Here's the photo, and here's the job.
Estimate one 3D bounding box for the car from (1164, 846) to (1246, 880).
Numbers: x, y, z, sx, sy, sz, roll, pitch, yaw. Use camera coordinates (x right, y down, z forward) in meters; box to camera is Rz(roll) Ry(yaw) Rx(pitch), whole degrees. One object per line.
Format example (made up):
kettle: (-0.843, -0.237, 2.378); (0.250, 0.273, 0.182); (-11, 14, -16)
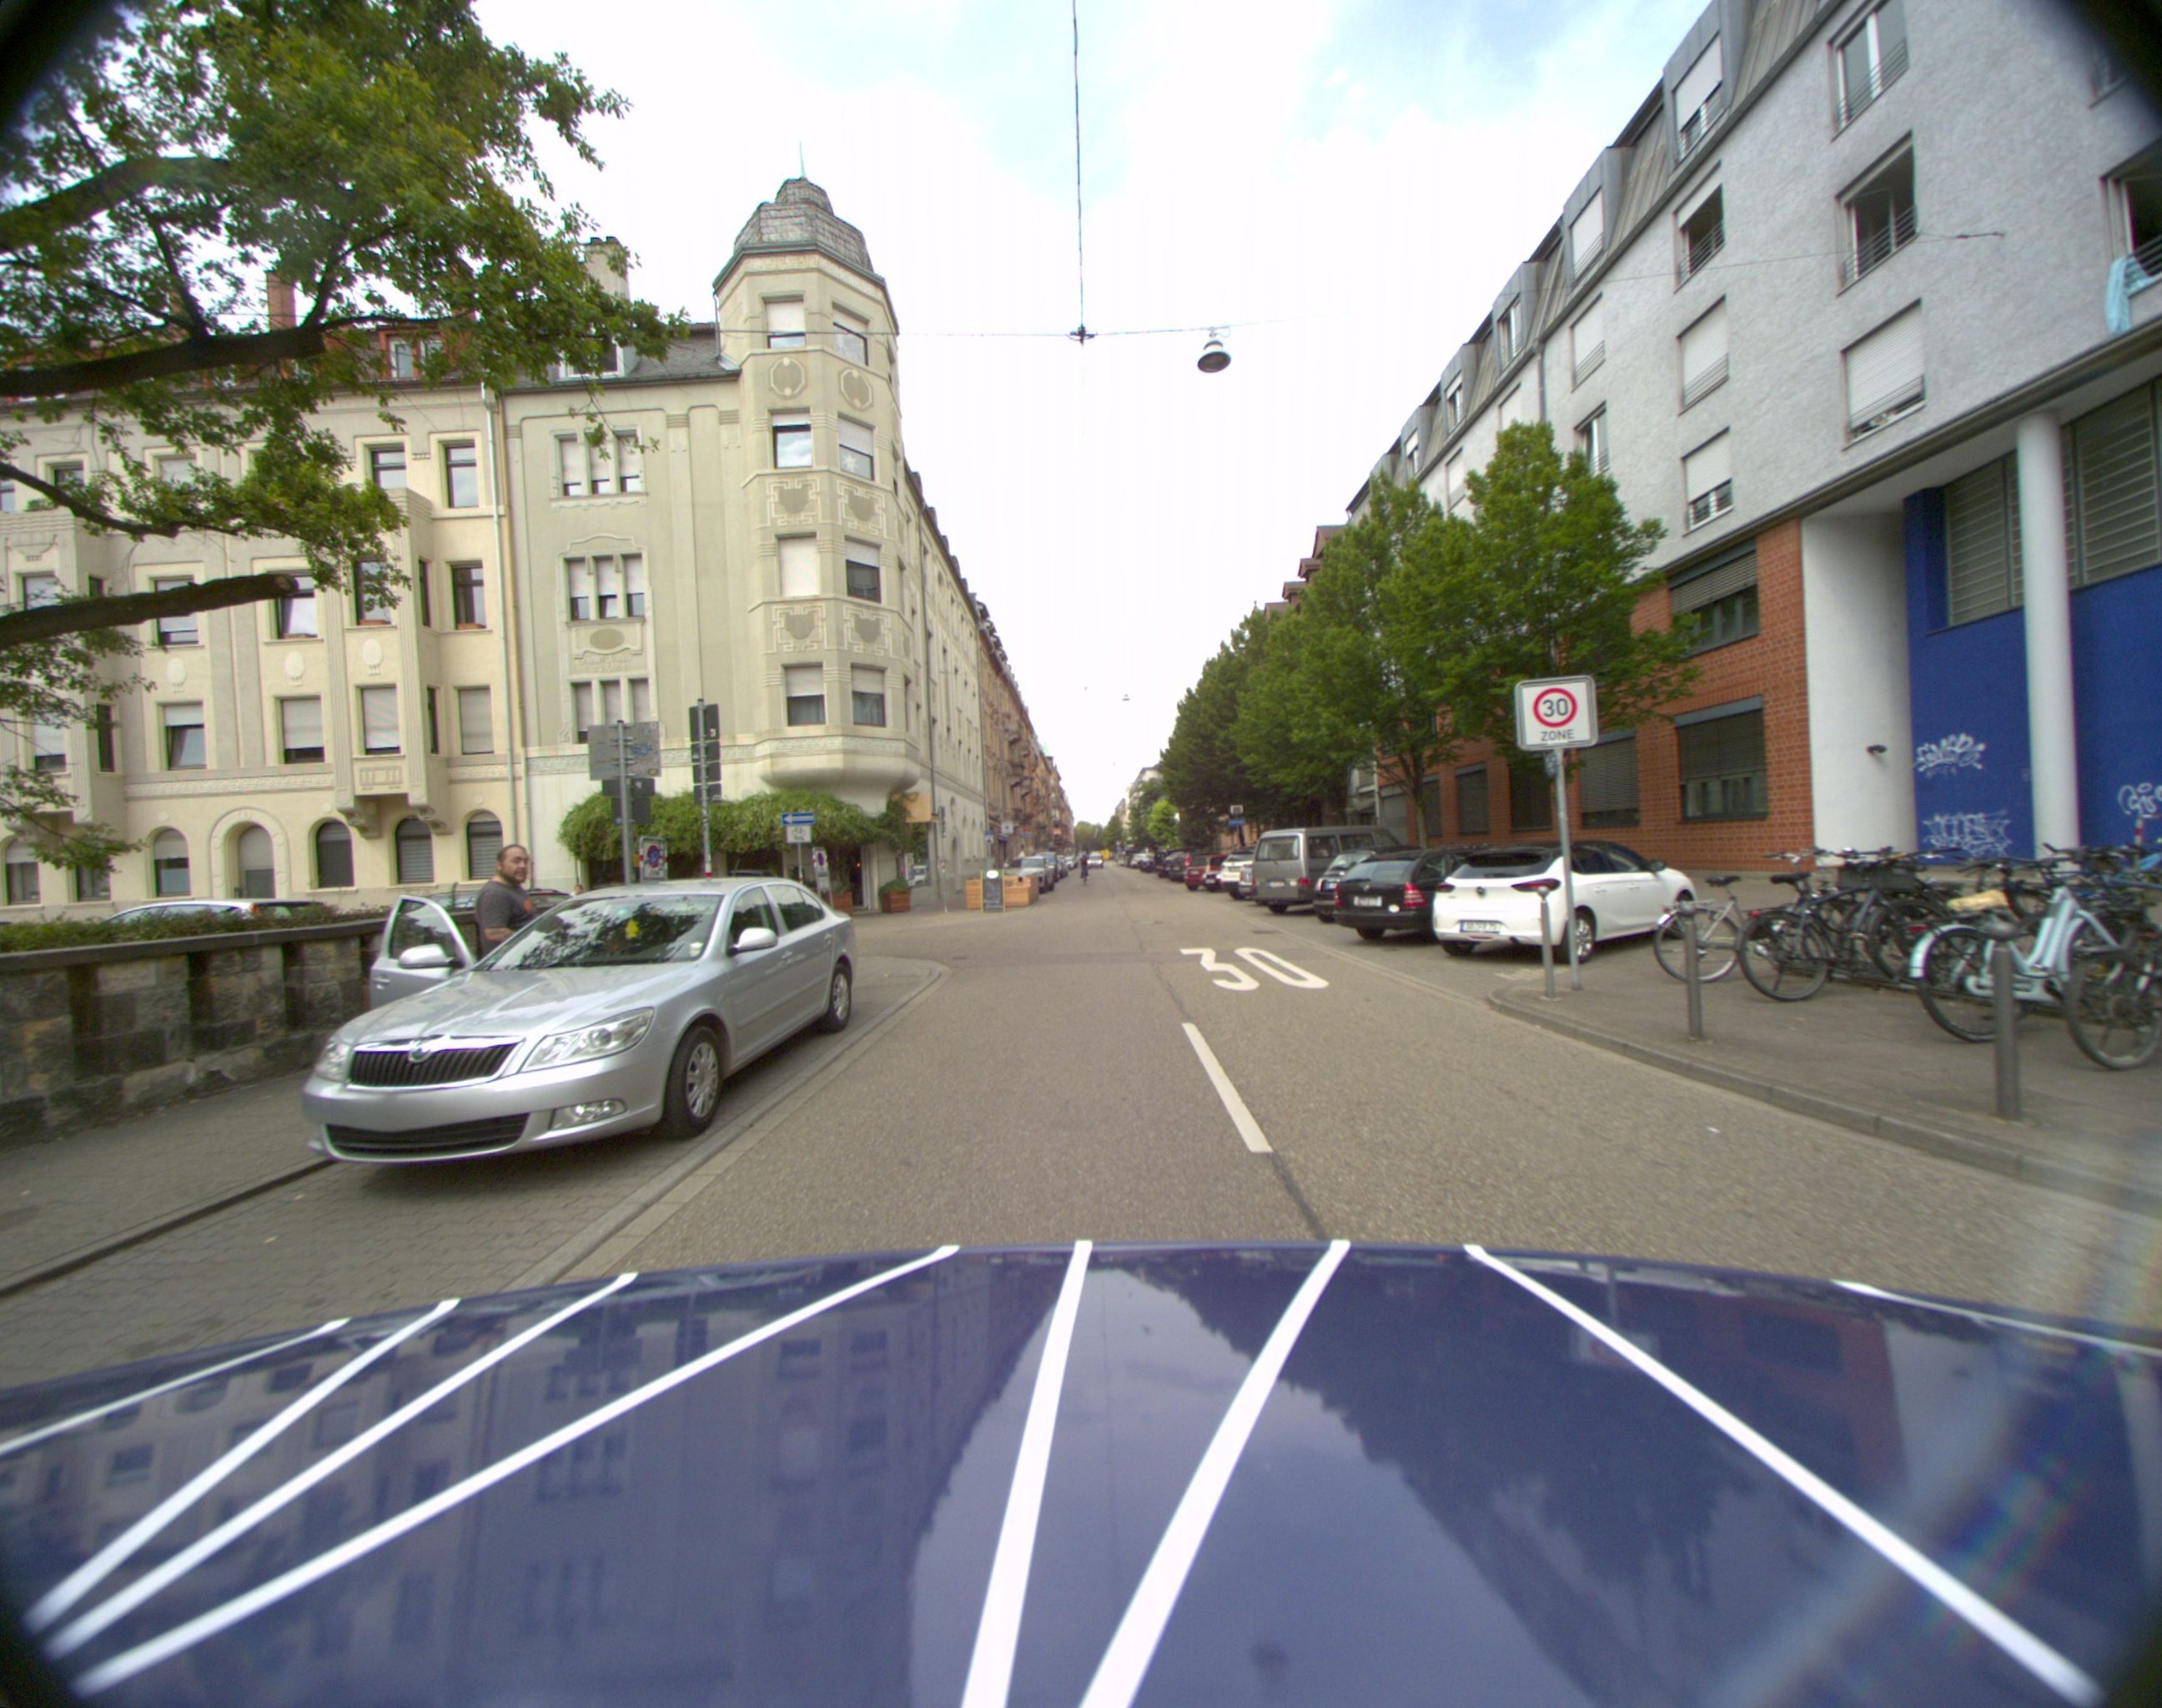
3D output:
car: (6.496, 0.459, 39.733); (4.012, 1.558, 1.688); (-3, 0, -32)

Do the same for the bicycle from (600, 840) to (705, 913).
bicycle: (-6.694, 0.353, 11.982); (0.523, 1.044, 1.821); (-3, -1, 2)

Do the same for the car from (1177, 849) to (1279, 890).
car: (6.136, 0.628, 31.515); (4.012, 1.445, 1.688); (-3, 0, -32)

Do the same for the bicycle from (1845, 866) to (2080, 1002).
bicycle: (7.380, 0.656, 6.390); (1.409, 1.020, 0.402); (-4, 1, 3)

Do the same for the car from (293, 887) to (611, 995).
car: (-10.520, 1.438, 12.870); (4.031, 1.460, 1.910); (-3, 1, 10)

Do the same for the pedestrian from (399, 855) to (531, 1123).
pedestrian: (-4.157, 0.881, 5.149); (0.468, 1.725, 0.410); (-2, 1, 1)

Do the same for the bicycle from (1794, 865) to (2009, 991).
bicycle: (7.386, 0.655, 6.866); (1.409, 1.020, 0.402); (-4, 1, 3)

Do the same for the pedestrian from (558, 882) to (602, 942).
pedestrian: (-12.918, 1.483, 19.610); (0.548, 1.452, 0.634); (-3, 4, 2)

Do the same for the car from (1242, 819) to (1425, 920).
car: (6.085, 0.311, 18.218); (4.011, 1.986, 1.858); (-5, 1, -30)

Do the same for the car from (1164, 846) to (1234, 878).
car: (7.183, 0.493, 46.147); (4.012, 1.672, 1.687); (-3, 0, -32)

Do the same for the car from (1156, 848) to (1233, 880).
car: (6.321, 0.551, 42.305); (4.012, 1.558, 1.688); (-3, 0, -32)

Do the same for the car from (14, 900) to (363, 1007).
car: (-15.340, 1.668, 13.213); (4.033, 1.526, 1.849); (-3, -2, 3)

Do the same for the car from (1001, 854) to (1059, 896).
car: (-2.165, 0.874, 33.464); (1.853, 1.661, 4.007); (-3, 0, 5)

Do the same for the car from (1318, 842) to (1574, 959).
car: (6.065, 0.648, 12.464); (4.323, 1.460, 1.713); (-3, 1, -33)

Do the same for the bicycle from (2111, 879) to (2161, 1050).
bicycle: (7.298, 0.645, 4.621); (1.409, 1.020, 0.402); (-4, 1, 3)

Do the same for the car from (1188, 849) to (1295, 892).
car: (6.213, 0.631, 29.301); (4.012, 1.381, 1.593); (-3, 0, -32)

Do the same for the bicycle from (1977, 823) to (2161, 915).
bicycle: (12.989, 0.175, 9.753); (1.613, 0.920, 0.932); (-9, 0, 13)

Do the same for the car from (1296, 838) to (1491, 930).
car: (6.556, 0.572, 15.840); (4.011, 1.502, 1.706); (-4, 0, -33)

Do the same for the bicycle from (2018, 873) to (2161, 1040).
bicycle: (7.305, 0.657, 5.107); (1.409, 1.020, 0.402); (-4, 1, 3)

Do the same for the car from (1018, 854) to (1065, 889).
car: (-2.065, 0.886, 40.684); (1.853, 1.661, 4.007); (-3, 0, 5)

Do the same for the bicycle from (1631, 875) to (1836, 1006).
bicycle: (5.899, 0.773, 6.906); (1.409, 1.020, 0.402); (-5, 1, 3)

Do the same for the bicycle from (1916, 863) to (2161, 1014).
bicycle: (7.349, 0.629, 5.799); (1.409, 1.020, 0.402); (-4, 1, 3)

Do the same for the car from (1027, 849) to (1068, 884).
car: (-2.004, 0.748, 46.703); (1.853, 1.932, 4.007); (-3, 0, 5)

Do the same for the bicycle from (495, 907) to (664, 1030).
bicycle: (-5.665, 1.243, 8.750); (0.523, 1.099, 1.978); (-3, 0, 2)

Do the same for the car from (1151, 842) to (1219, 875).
car: (6.664, 0.254, 48.625); (4.051, 1.847, 1.687); (-3, 0, -32)

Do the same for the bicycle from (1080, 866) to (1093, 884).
bicycle: (0.303, 1.112, 41.015); (0.586, 0.927, 1.783); (-3, 0, 2)

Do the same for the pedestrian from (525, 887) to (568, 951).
pedestrian: (-12.860, 1.563, 18.300); (0.548, 1.460, 0.560); (-3, 1, 2)

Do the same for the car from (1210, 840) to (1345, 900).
car: (6.176, 0.471, 23.762); (4.012, 1.605, 1.709); (-3, 0, -32)

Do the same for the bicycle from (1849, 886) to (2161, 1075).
bicycle: (5.849, 0.783, 4.825); (1.409, 1.020, 0.402); (-5, 1, 3)

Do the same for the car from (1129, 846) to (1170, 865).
car: (7.180, 0.163, 79.855); (4.012, 1.746, 1.687); (-3, 0, -32)

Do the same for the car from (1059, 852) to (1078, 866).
car: (-1.495, 0.566, 91.575); (1.853, 1.505, 4.007); (-3, 0, 5)

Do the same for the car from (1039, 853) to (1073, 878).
car: (-1.758, 0.784, 54.143); (1.853, 1.568, 4.007); (-3, 0, 5)

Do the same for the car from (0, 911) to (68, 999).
car: (-21.122, 1.889, 13.474); (4.033, 1.526, 1.849); (-3, -2, 3)

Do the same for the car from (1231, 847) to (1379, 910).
car: (6.270, 0.634, 21.121); (4.012, 1.438, 1.622); (-3, 0, -32)

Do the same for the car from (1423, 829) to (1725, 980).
car: (6.587, 0.539, 10.061); (4.011, 1.536, 1.599); (-3, 1, -29)

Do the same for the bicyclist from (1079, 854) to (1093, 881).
bicyclist: (0.295, 0.718, 40.985); (0.649, 1.408, 1.094); (-3, 1, 2)

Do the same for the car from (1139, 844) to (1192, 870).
car: (6.895, 0.246, 61.747); (4.012, 1.847, 1.687); (-3, 0, -32)

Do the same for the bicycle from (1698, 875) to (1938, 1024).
bicycle: (5.879, 0.751, 6.097); (1.409, 1.020, 0.402); (-5, 1, 3)

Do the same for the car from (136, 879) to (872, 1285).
car: (-2.996, 1.023, 5.364); (1.759, 1.460, 4.418); (-3, 0, 0)

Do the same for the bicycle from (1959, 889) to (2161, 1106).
bicycle: (5.840, 0.753, 4.183); (1.409, 1.032, 0.402); (-5, 1, 3)

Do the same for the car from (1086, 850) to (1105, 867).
car: (1.850, 0.574, 95.256); (1.942, 1.913, 4.007); (-3, 0, 5)

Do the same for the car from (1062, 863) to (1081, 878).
car: (-1.012, 1.757, 83.530); (1.854, 1.505, 4.006); (-3, 0, 2)
